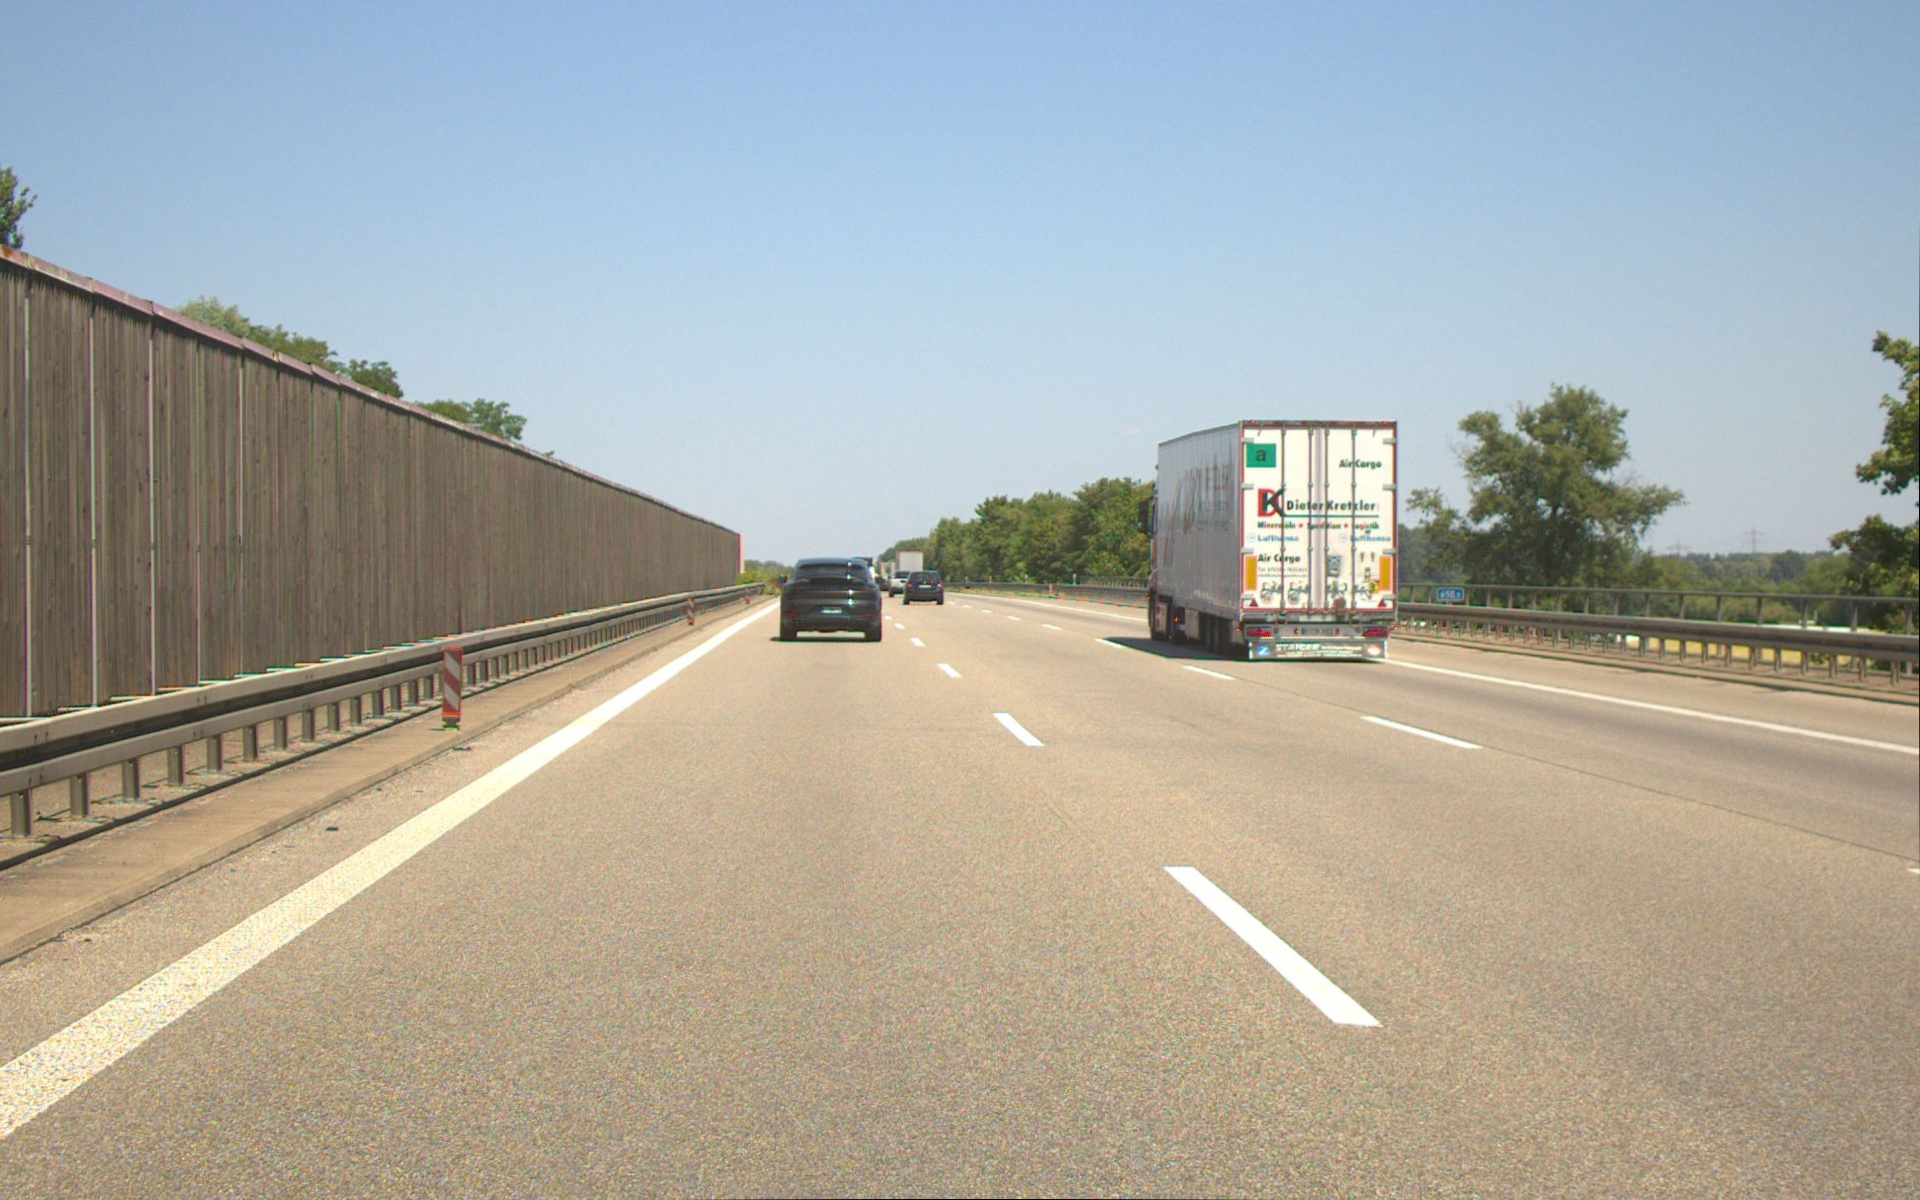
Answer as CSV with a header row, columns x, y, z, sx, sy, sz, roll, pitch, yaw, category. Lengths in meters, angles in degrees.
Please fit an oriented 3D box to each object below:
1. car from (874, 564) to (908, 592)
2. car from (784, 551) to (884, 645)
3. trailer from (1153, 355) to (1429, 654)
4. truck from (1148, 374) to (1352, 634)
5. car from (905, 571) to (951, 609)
x,y,z,sx,sy,sz,roll,pitch,yaw,category
-4.000,-1.260,197.971,1.903,1.578,4.304,-1,0,-2,car
-2.525,-0.074,68.234,1.880,1.786,4.001,0,1,-3,car
5.776,-1.654,62.974,3.269,4.821,14.030,1,1,-2,trailer
5.677,-1.858,68.487,3.234,4.872,6.972,1,1,-2,truck
-1.382,-0.427,147.683,1.903,1.578,4.304,-1,0,-2,car
